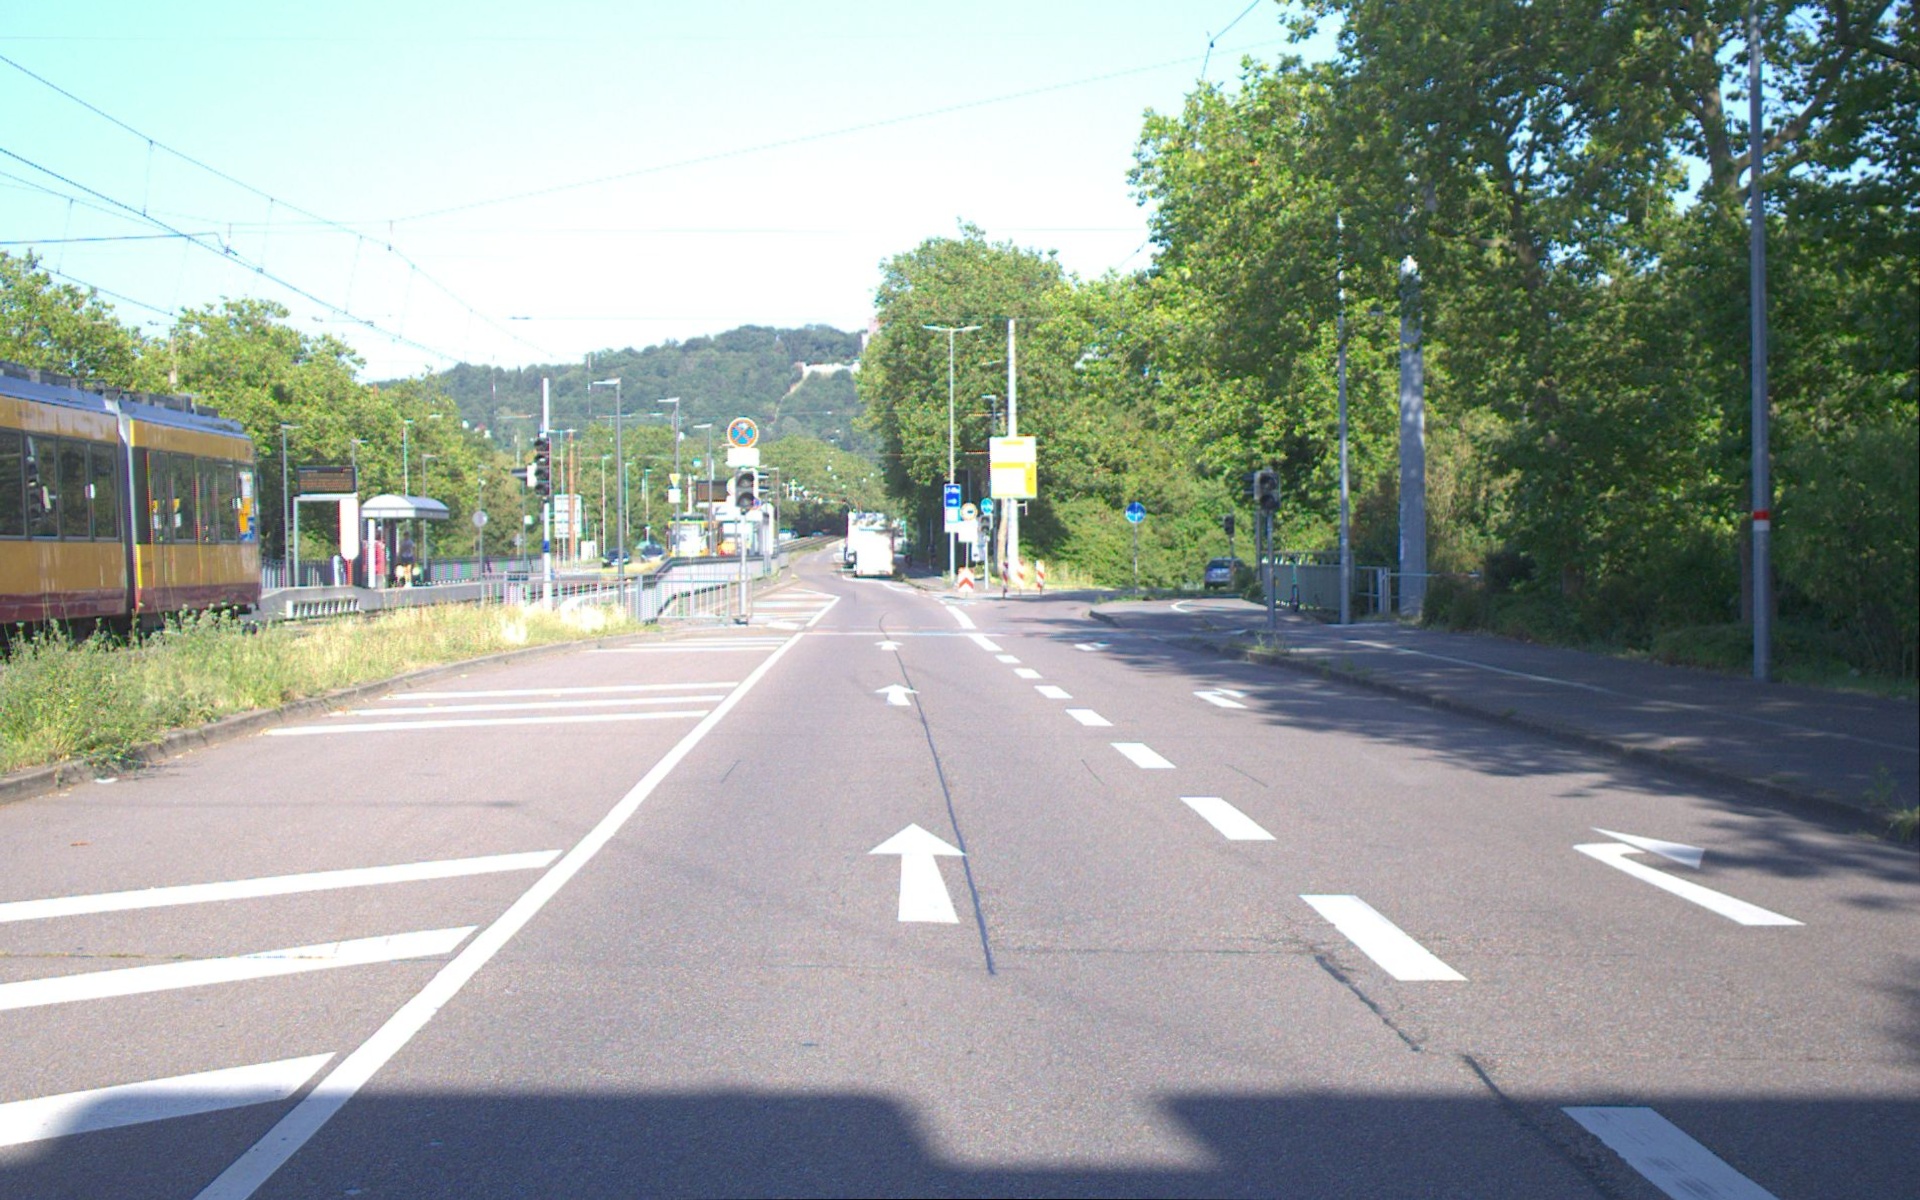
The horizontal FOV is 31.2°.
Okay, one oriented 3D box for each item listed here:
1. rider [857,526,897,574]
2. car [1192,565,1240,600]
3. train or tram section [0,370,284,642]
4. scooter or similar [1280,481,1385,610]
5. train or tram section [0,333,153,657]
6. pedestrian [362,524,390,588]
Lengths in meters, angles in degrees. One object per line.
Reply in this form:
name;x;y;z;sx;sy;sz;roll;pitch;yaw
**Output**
rider;-4.551;-2.729;187.710;2.109;2.638;0.736;0;1;5
car;11.747;-0.803;157.690;2.087;1.560;3.954;1;1;5
train or tram section;-13.363;-1.442;55.739;2.824;3.937;10.835;1;1;-1
scooter or similar;8.118;-1.191;75.211;1.681;2.706;4.869;1;1;-1
train or tram section;-13.120;-1.319;43.991;2.824;3.937;12.654;1;1;-1
pedestrian;-18.668;-1.403;109.882;0.744;2.007;0.608;1;0;-1
